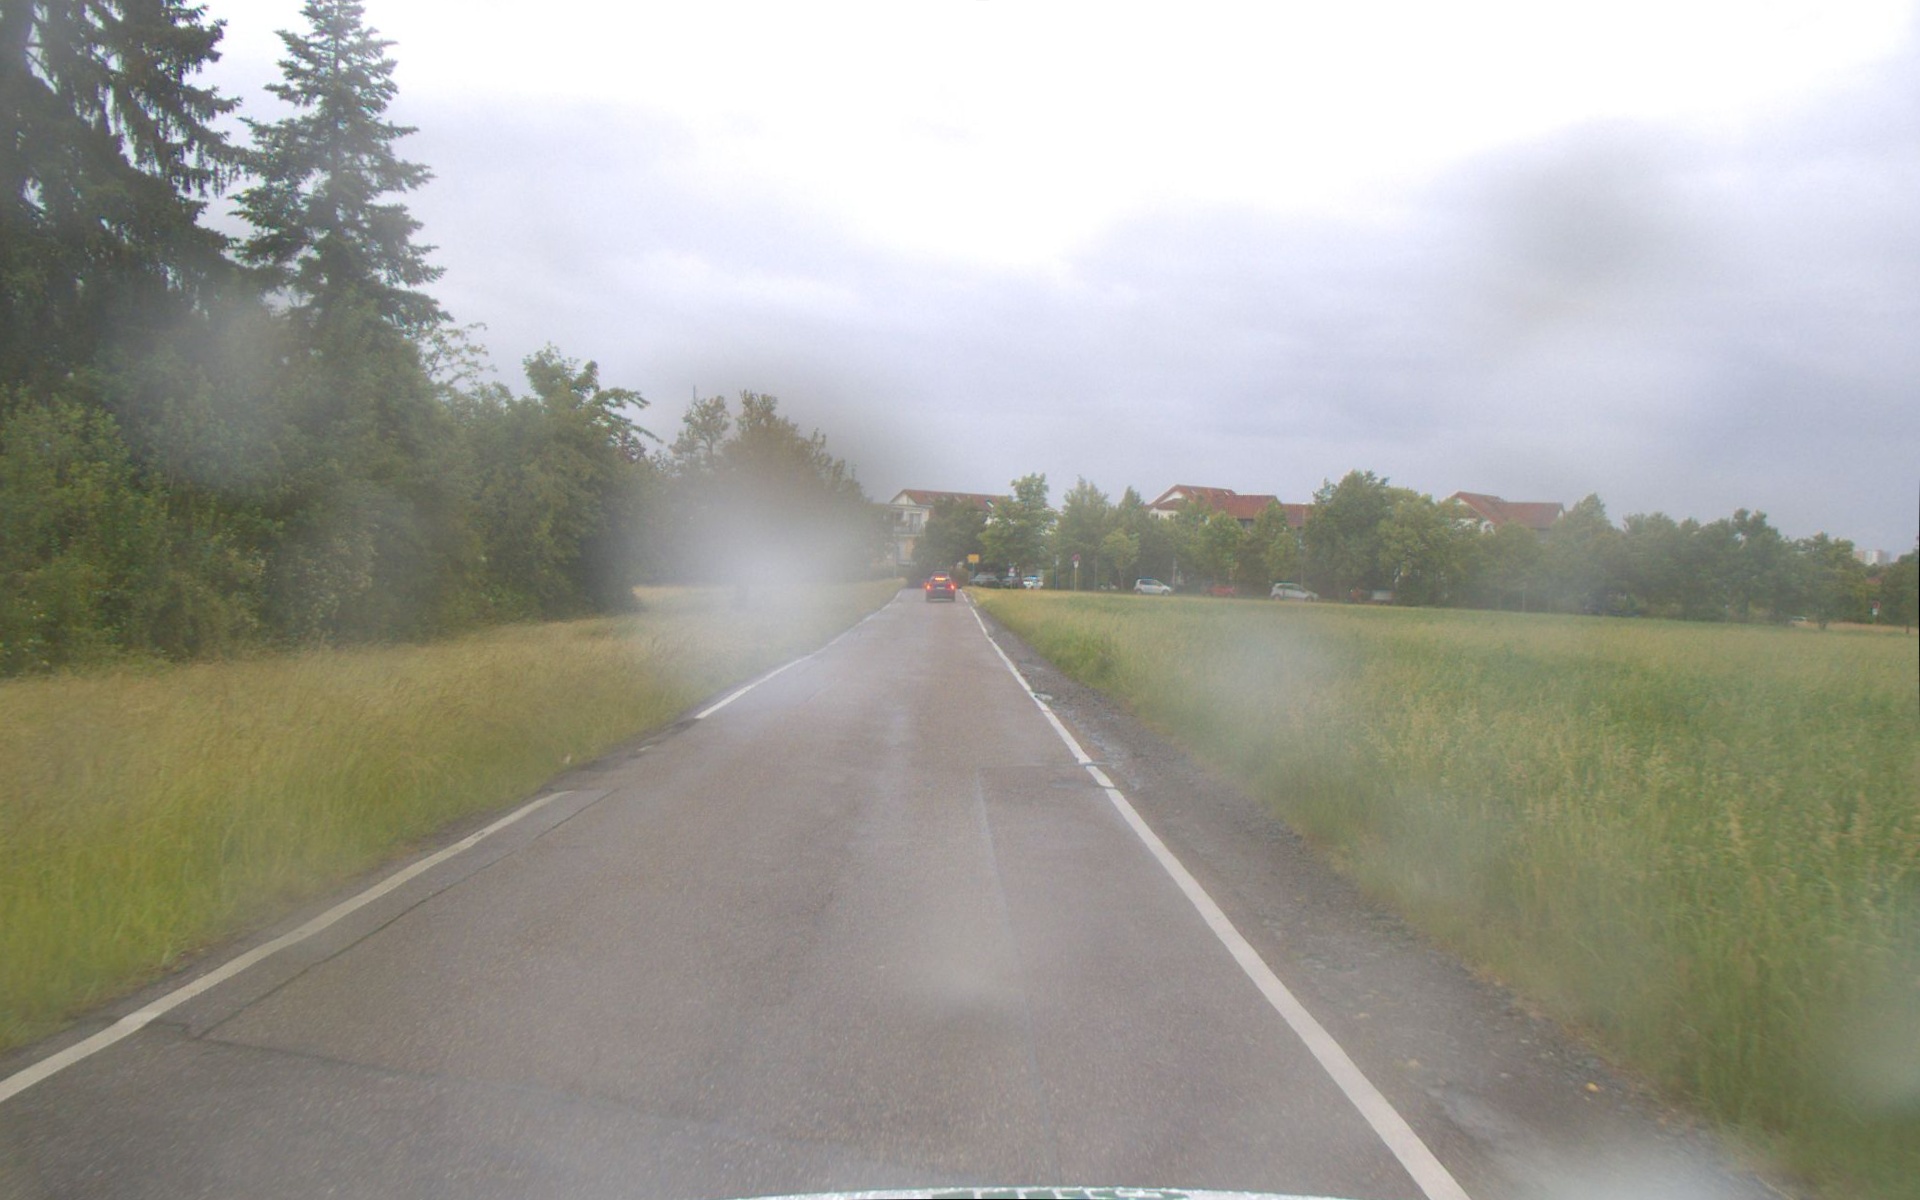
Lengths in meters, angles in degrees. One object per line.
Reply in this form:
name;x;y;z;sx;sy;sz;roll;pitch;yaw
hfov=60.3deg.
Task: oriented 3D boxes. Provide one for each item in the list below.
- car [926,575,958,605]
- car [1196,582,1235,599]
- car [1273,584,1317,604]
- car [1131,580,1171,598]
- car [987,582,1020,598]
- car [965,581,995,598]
car;-1.059;-0.573;98.092;1.777;1.622;4.000;1;-1;0
car;21.880;-0.820;141.636;3.124;1.394;1.573;1;-1;13
car;28.329;-0.520;139.941;3.630;1.591;1.611;1;-1;13
car;16.507;-0.944;142.856;3.317;1.394;1.549;1;-1;13
car;4.621;-1.091;176.440;1.632;1.573;3.986;1;-1;35
car;2.101;-1.076;171.796;1.627;1.573;3.998;1;-1;24
